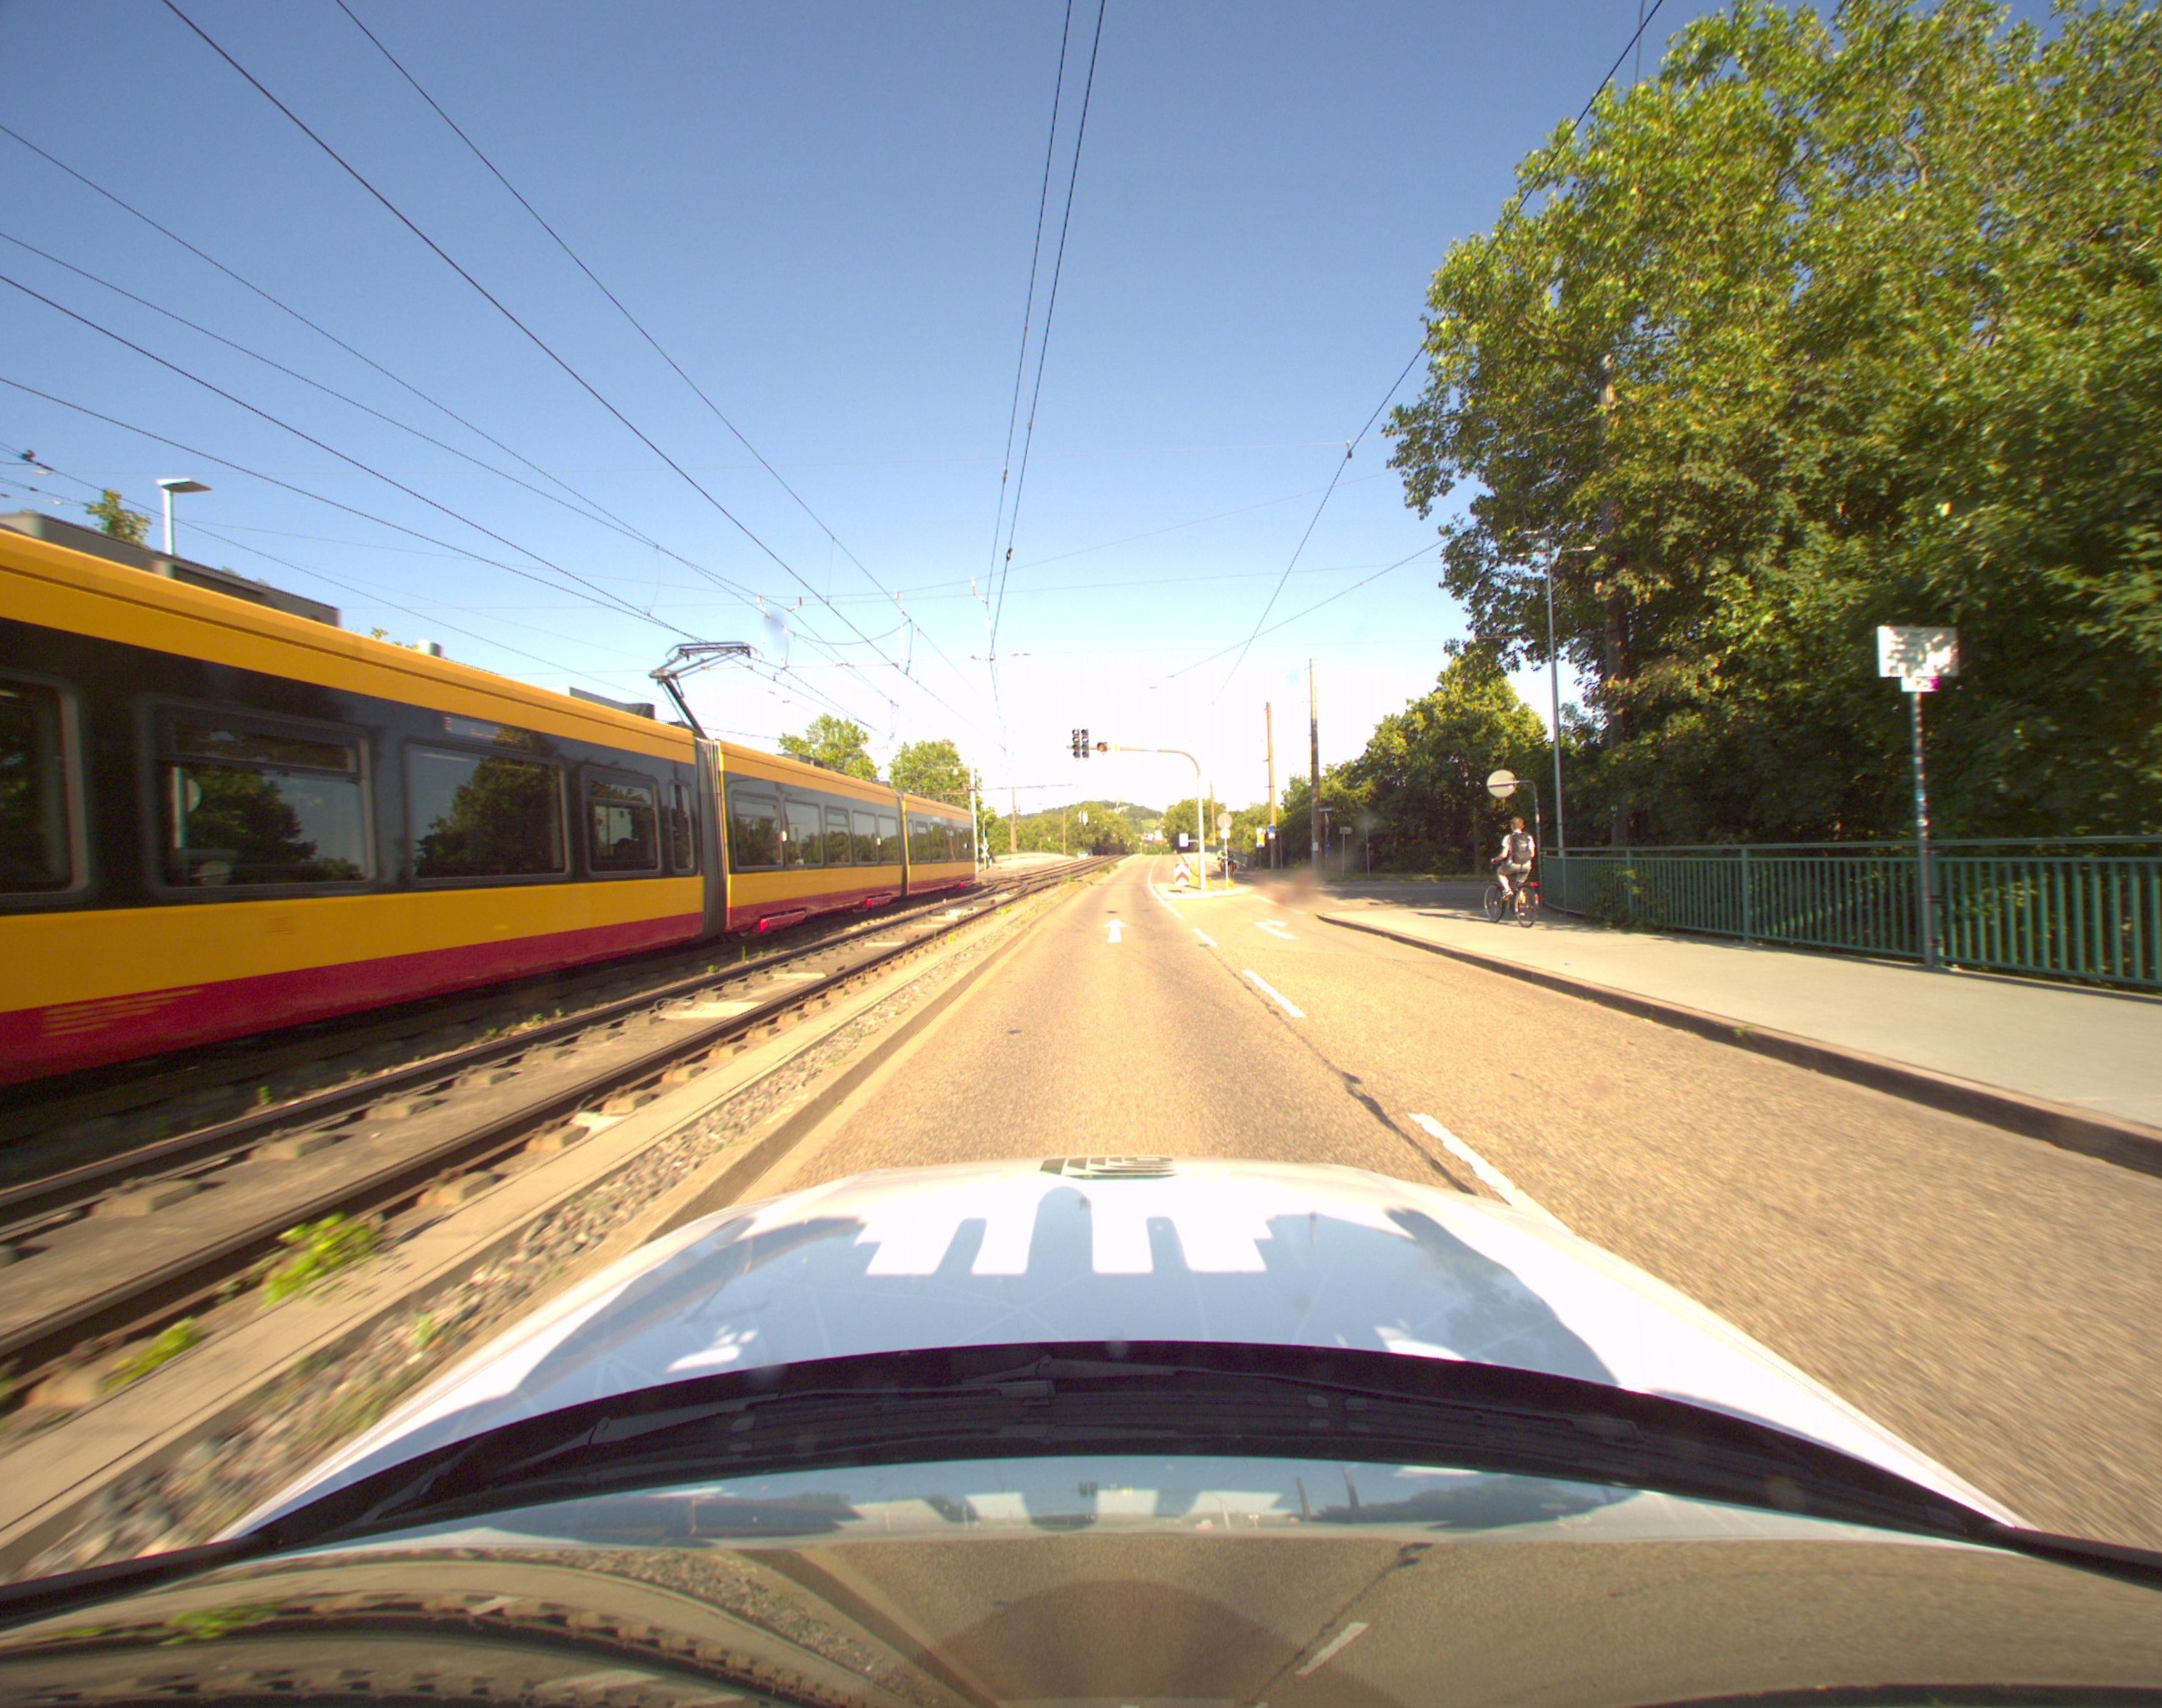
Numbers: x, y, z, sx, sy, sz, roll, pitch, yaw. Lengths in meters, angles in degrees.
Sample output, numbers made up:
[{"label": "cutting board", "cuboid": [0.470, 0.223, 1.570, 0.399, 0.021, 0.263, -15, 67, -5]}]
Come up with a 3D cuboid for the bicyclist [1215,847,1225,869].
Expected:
[{"label": "bicyclist", "cuboid": [9.670, 0.249, 56.678, 0.621, 1.508, 1.008, -1, 0, 9]}]

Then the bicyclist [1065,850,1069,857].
[{"label": "bicyclist", "cuboid": [-2.813, -0.174, 163.364, 0.622, 1.432, 0.970, -1, 0, 7]}]

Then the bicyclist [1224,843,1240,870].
[{"label": "bicyclist", "cuboid": [8.887, 0.125, 47.964, 0.808, 1.562, 0.898, -1, 1, 6]}]

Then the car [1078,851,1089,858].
[{"label": "car", "cuboid": [0.563, 0.148, 164.449, 1.675, 1.356, 4.929, -1, 0, 6]}]

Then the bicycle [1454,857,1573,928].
[{"label": "bicycle", "cuboid": [7.620, 0.622, 14.539, 0.728, 1.122, 2.743, -1, 0, 2]}]

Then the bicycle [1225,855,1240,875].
[{"label": "bicycle", "cuboid": [8.911, 0.628, 47.990, 0.680, 1.122, 2.220, -1, 1, 6]}]

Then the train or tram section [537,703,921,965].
[{"label": "train or tram section", "cuboid": [-6.506, -0.308, 18.209, 2.964, 3.900, 11.672, -2, 0, 2]}]

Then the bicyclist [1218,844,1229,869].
[{"label": "bicyclist", "cuboid": [9.357, 0.174, 53.538, 0.622, 1.592, 0.932, -1, 0, 6]}]

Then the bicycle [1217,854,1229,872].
[{"label": "bicycle", "cuboid": [9.328, 0.580, 53.532, 0.622, 1.122, 2.045, -1, 0, 6]}]

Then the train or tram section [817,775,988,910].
[{"label": "train or tram section", "cuboid": [-5.995, -0.359, 30.360, 2.966, 3.900, 12.709, -2, 0, 2]}]

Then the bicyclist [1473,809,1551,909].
[{"label": "bicyclist", "cuboid": [7.611, 0.086, 14.442, 0.728, 1.689, 1.202, -1, 0, 2]}]

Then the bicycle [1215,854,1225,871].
[{"label": "bicycle", "cuboid": [9.675, 0.592, 56.636, 0.621, 1.122, 2.265, -1, 0, 9]}]

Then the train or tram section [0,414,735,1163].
[{"label": "train or tram section", "cuboid": [-7.046, -0.317, 5.778, 2.992, 3.900, 13.089, -2, 0, 2]}]
